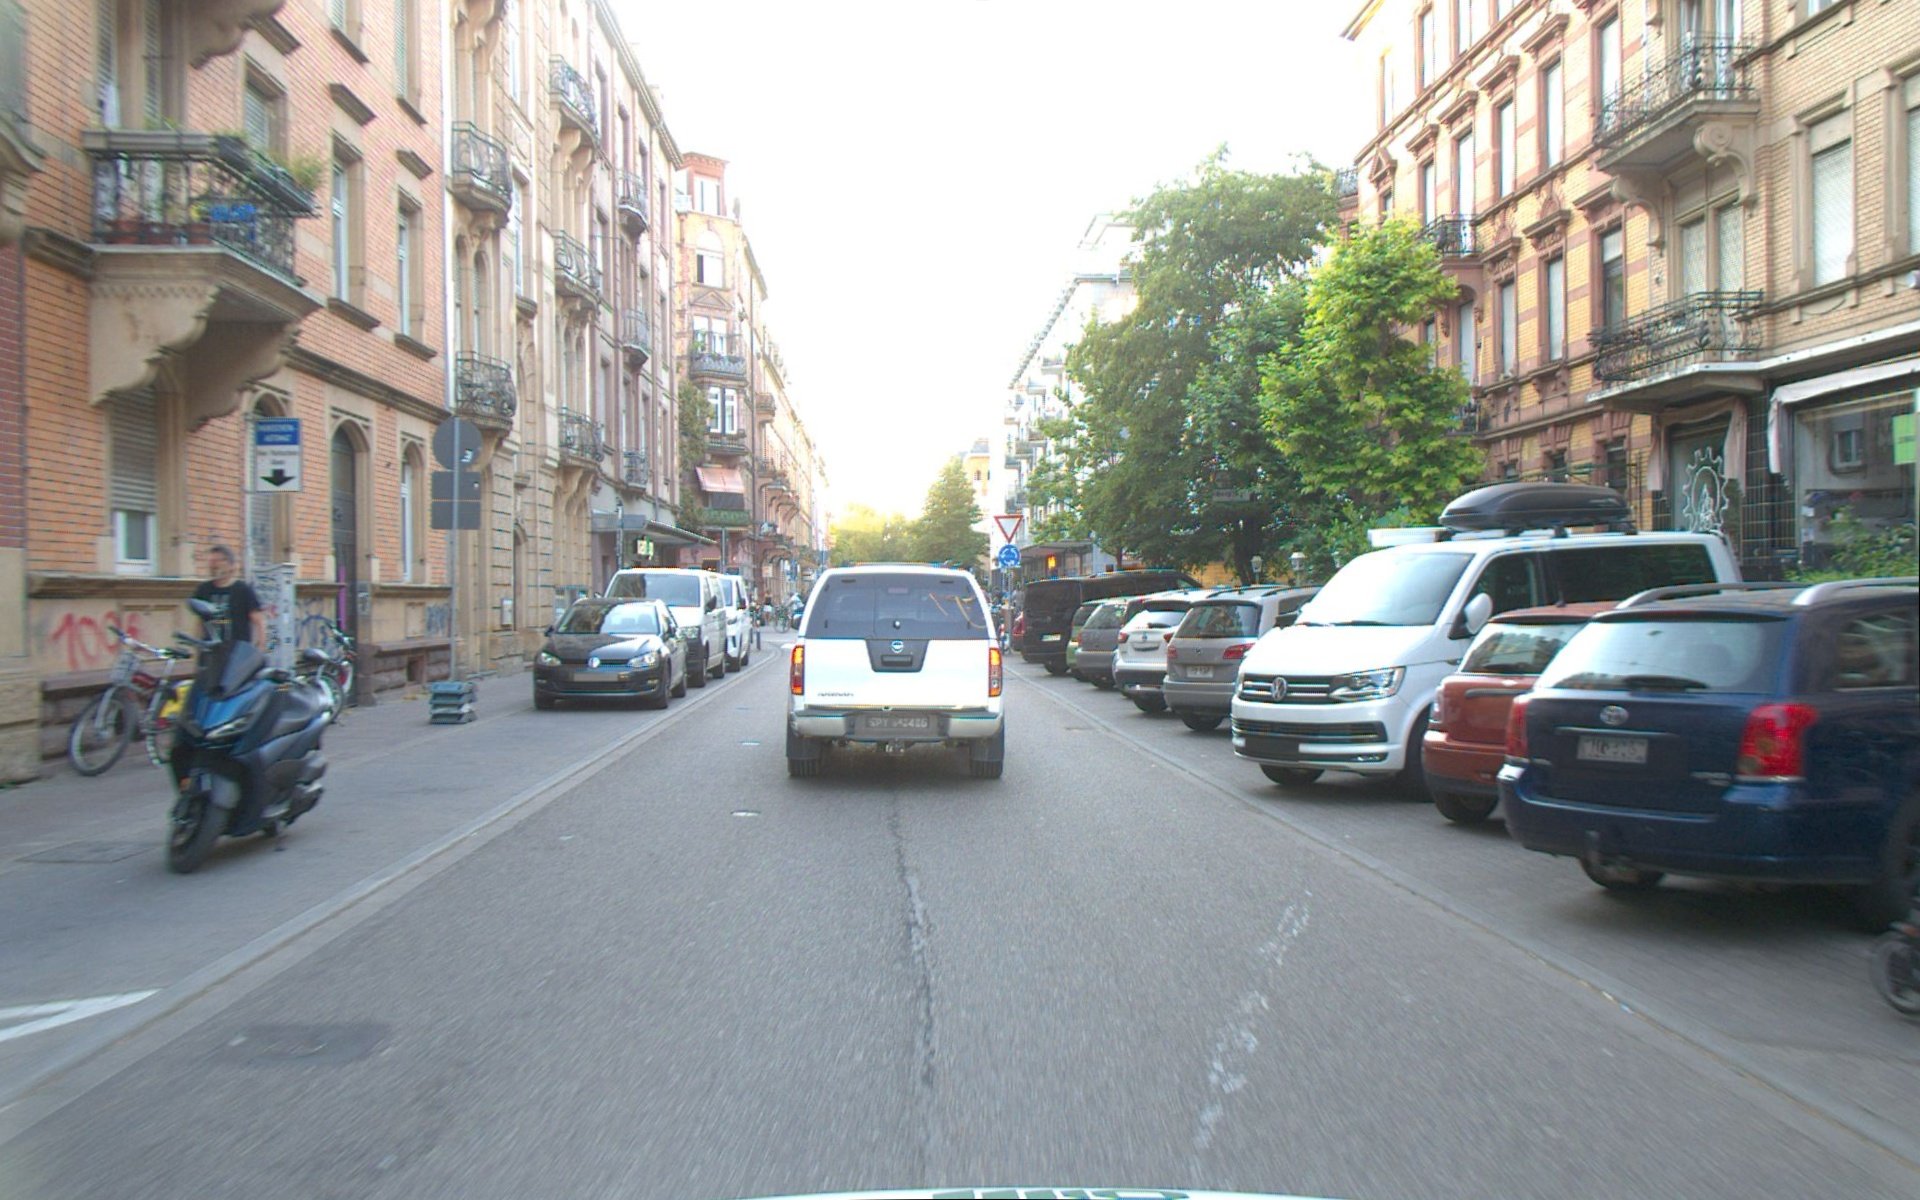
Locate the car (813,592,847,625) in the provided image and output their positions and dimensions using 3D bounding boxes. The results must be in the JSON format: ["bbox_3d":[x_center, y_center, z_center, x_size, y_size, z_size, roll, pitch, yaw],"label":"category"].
[{"bbox_3d":[-7.259,0.490,92.581,1.798,1.780,3.997,1,-1,-4],"label":"car"}]

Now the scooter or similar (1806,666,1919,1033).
[{"bbox_3d":[3.616,0.842,5.328,0.647,1.170,1.471,-3,1,-26],"label":"scooter or similar"}]

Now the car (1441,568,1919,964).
[{"bbox_3d":[4.470,0.620,8.258,3.813,1.542,1.830,-1,0,-29],"label":"car"}]

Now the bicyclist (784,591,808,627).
[{"bbox_3d":[-6.818,0.367,68.727,0.852,1.492,0.576,1,-1,8],"label":"bicyclist"}]

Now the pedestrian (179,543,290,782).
[{"bbox_3d":[-5.825,0.487,13.326,0.671,1.842,0.957,1,-1,-17],"label":"pedestrian"}]

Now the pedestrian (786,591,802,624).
[{"bbox_3d":[-8.524,0.396,84.864,0.782,1.649,0.943,1,-1,-5],"label":"pedestrian"}]

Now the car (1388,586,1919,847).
[{"bbox_3d":[4.868,0.674,11.282,3.824,1.433,1.736,-2,-1,-36],"label":"car"}]

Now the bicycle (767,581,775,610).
[{"bbox_3d":[-9.696,-0.238,84.821,0.416,1.468,1.901,1,-1,-7],"label":"bicycle"}]

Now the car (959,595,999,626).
[{"bbox_3d":[0.958,0.565,86.733,1.798,1.569,3.997,1,-1,-4],"label":"car"}]

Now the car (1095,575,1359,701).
[{"bbox_3d":[4.170,0.536,25.482,4.073,1.618,1.791,-4,1,-41],"label":"car"}]

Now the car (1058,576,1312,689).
[{"bbox_3d":[3.820,0.508,27.850,4.062,1.578,1.797,-4,1,-35],"label":"car"}]

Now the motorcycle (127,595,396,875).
[{"bbox_3d":[-3.935,0.702,9.510,0.670,1.429,2.014,1,-1,0],"label":"motorcycle"}]

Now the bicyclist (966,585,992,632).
[{"bbox_3d":[0.822,0.363,71.265,0.834,1.978,0.772,1,-1,-43],"label":"bicyclist"}]

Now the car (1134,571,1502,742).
[{"bbox_3d":[4.229,0.575,19.349,4.117,1.618,1.864,-4,2,-34],"label":"car"}]

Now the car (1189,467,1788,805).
[{"bbox_3d":[4.478,0.205,13.820,4.869,2.403,1.981,-1,0,-29],"label":"car"}]

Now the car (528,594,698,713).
[{"bbox_3d":[-4.735,0.675,23.079,1.801,1.496,4.168,0,0,-5],"label":"car"}]

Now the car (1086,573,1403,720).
[{"bbox_3d":[3.861,0.564,22.252,4.060,1.618,1.797,-4,1,-34],"label":"car"}]

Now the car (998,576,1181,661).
[{"bbox_3d":[3.109,0.417,39.108,4.188,1.717,1.904,-4,1,-41],"label":"car"}]

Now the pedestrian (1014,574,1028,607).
[{"bbox_3d":[3.594,-0.545,97.624,0.705,1.940,0.702,1,-1,-3],"label":"pedestrian"}]

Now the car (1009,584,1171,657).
[{"bbox_3d":[3.358,0.488,42.461,4.002,1.656,1.672,-3,2,-35],"label":"car"}]

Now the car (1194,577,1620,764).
[{"bbox_3d":[4.551,0.618,16.700,4.112,1.618,1.866,-1,0,-32],"label":"car"}]

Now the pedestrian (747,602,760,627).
[{"bbox_3d":[-10.023,0.703,80.303,0.636,1.212,0.539,1,-1,-7],"label":"pedestrian"}]

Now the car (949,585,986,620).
[{"bbox_3d":[0.414,0.177,95.495,1.904,1.967,3.997,1,-1,-4],"label":"car"}]

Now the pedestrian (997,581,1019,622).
[{"bbox_3d":[2.120,0.065,73.033,0.886,1.767,0.615,1,-1,-6],"label":"pedestrian"}]

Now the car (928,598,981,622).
[{"bbox_3d":[-0.416,0.790,126.809,3.908,1.780,1.839,1,-1,-4],"label":"car"}]

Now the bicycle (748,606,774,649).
[{"bbox_3d":[-5.442,0.753,45.275,0.462,1.162,1.785,1,-1,1],"label":"bicycle"}]

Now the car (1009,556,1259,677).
[{"bbox_3d":[3.651,0.291,33.864,5.390,2.108,1.904,-4,1,-41],"label":"car"}]

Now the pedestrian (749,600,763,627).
[{"bbox_3d":[-10.050,0.666,81.490,0.636,1.308,0.539,1,-1,-7],"label":"pedestrian"}]

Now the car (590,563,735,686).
[{"bbox_3d":[-5.087,0.390,28.882,1.800,1.955,4.843,0,0,-2],"label":"car"}]

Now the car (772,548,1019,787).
[{"bbox_3d":[-0.504,0.550,15.391,1.898,1.842,5.000,1,-1,0],"label":"car"}]

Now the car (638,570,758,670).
[{"bbox_3d":[-5.453,0.398,34.997,2.068,1.955,5.021,0,0,-4],"label":"car"}]

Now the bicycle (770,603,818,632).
[{"bbox_3d":[-6.896,0.721,68.727,1.888,1.192,0.597,1,-1,7],"label":"bicycle"}]

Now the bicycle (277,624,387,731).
[{"bbox_3d":[-7.010,0.840,18.544,0.736,1.120,2.021,1,-1,-9],"label":"bicycle"}]

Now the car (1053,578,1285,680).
[{"bbox_3d":[3.894,0.496,30.536,4.062,1.578,1.797,-4,1,-35],"label":"car"}]

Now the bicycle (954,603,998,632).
[{"bbox_3d":[0.695,0.755,71.393,0.833,1.192,1.906,1,-1,-41],"label":"bicycle"}]

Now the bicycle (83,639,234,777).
[{"bbox_3d":[-6.645,0.862,13.791,0.438,1.048,1.740,1,-1,-2],"label":"bicycle"}]
